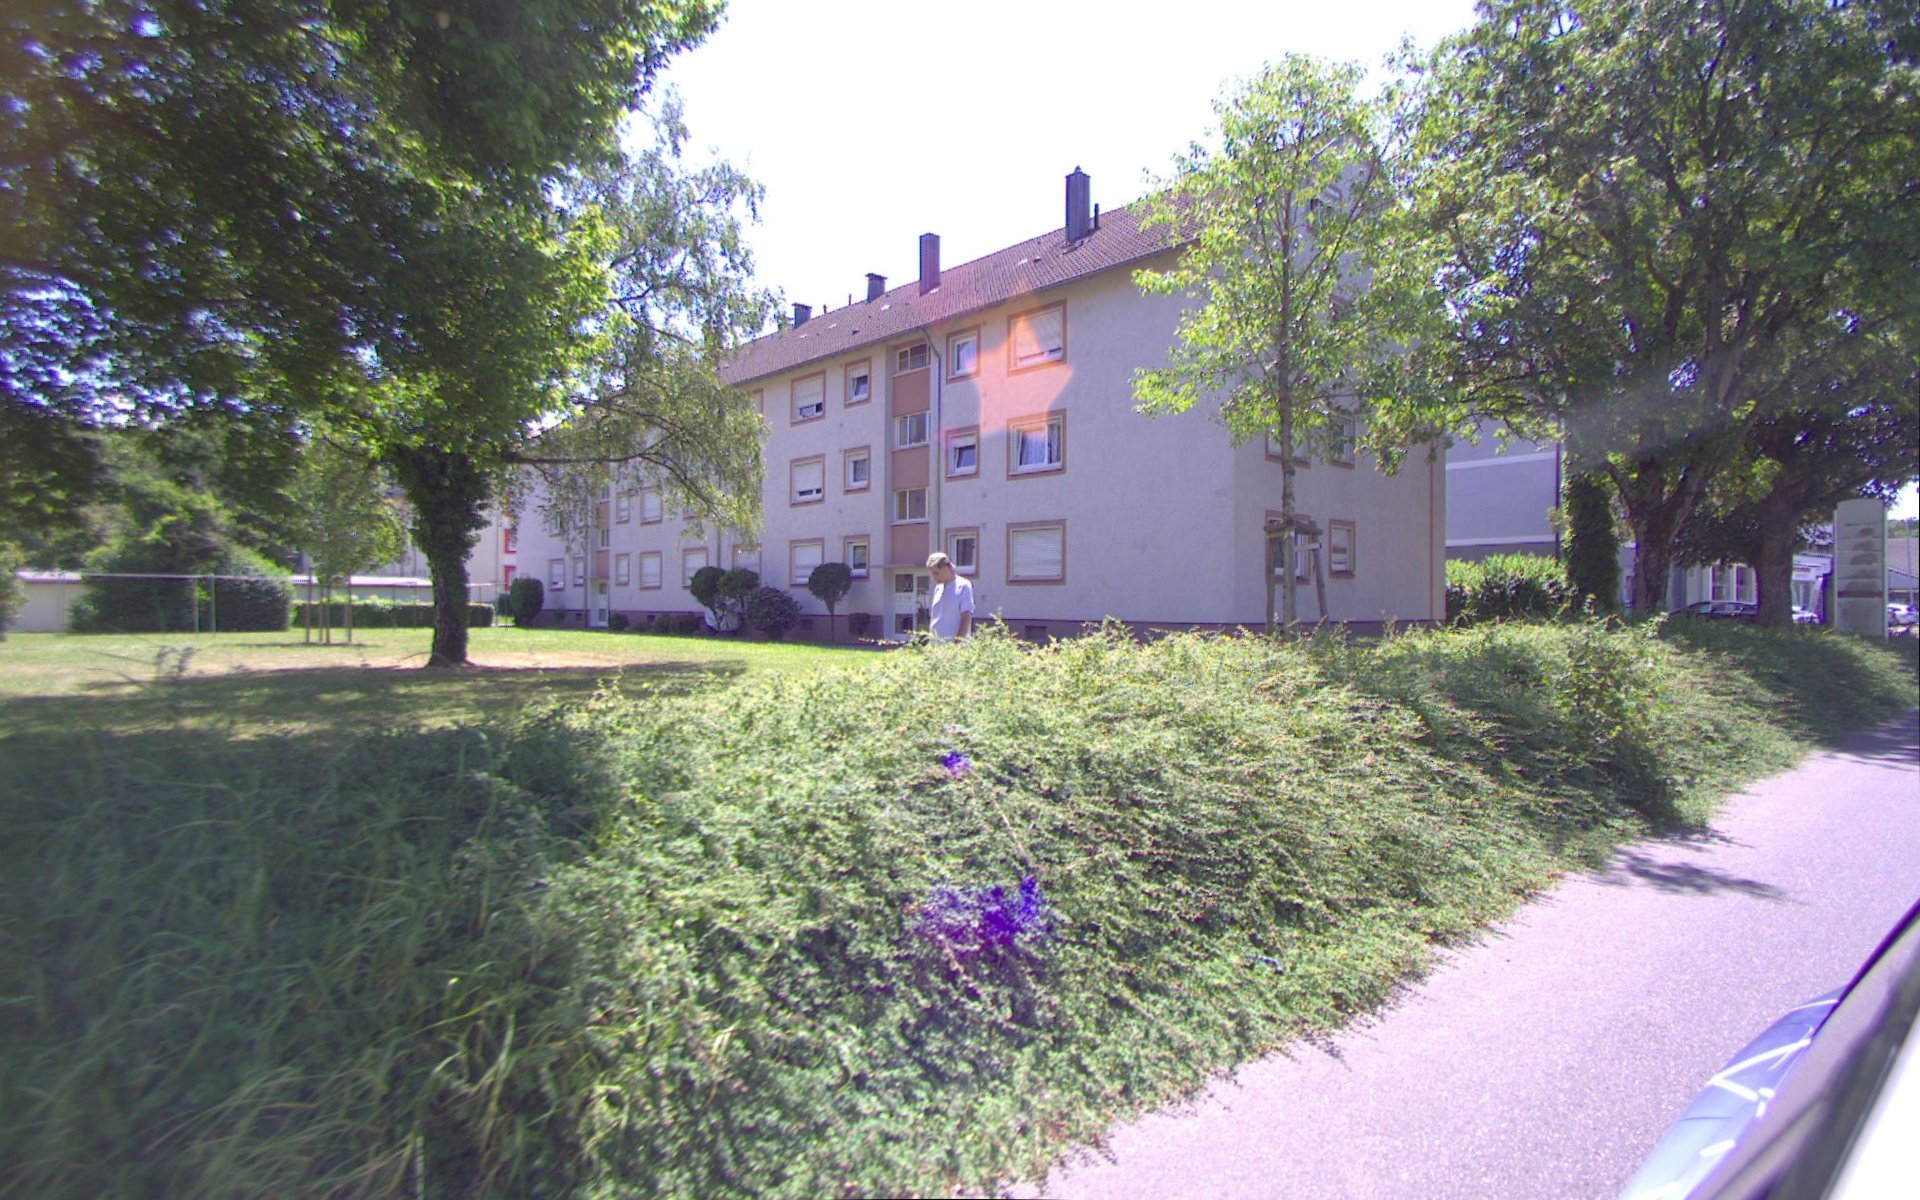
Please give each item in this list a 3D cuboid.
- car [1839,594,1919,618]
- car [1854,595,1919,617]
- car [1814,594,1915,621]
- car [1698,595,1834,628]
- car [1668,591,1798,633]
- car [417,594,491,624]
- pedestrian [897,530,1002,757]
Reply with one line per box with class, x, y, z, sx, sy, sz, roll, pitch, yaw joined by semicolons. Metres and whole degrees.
car;63.785;0.405;70.261;1.643;1.552;3.875;0;1;-22
car;65.719;0.394;71.083;1.768;1.479;4.007;0;1;-24
car;59.795;0.485;66.987;1.958;1.662;4.606;0;1;-21
car;35.051;0.464;44.167;4.316;1.388;1.937;0;1;28
car;32.016;0.458;41.976;1.766;1.569;3.995;0;2;-40
car;-32.385;0.539;64.862;3.874;1.846;1.957;0;0;-12
pedestrian;-0.096;0.369;9.124;0.648;1.938;0.705;0;0;-37
